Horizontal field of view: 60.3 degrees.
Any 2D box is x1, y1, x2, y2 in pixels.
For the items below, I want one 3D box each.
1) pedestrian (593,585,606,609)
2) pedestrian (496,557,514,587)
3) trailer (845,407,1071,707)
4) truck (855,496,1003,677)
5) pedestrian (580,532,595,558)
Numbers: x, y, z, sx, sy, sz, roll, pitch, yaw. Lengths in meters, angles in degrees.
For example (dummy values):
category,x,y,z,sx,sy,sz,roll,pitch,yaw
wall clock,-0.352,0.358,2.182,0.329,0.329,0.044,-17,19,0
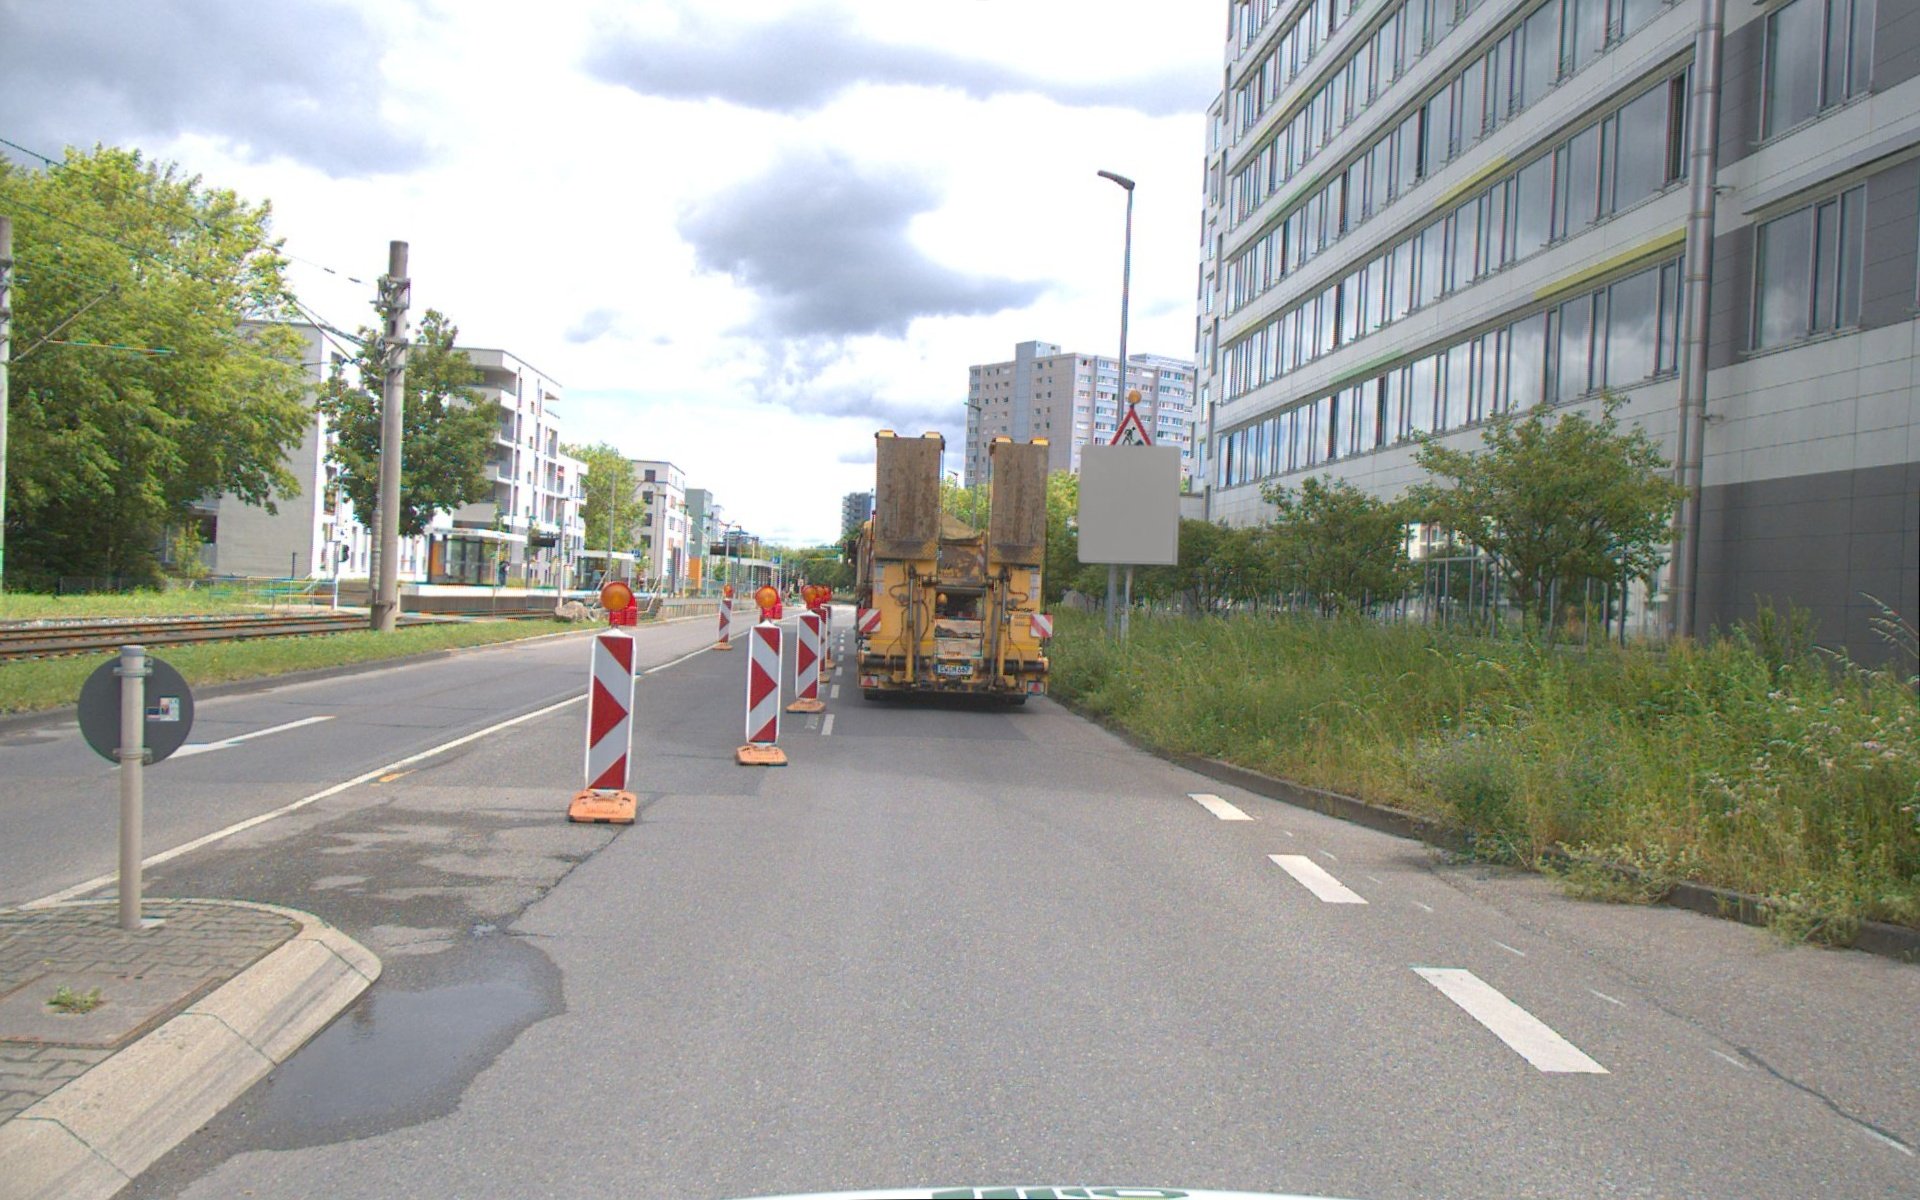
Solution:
category,x,y,z,sx,sy,sz,roll,pitch,yaw
pedestrian,-24.935,-0.218,114.280,0.478,1.624,0.676,2,0,32
pedestrian,-24.243,-1.494,88.166,0.726,1.558,0.547,3,0,0
trailer,-0.282,-0.540,26.333,2.675,3.621,11.247,3,0,-3
truck,-0.801,-0.264,36.109,2.699,3.371,8.347,3,0,-3
pedestrian,-25.365,-3.739,112.628,0.665,1.755,0.486,3,-3,39
